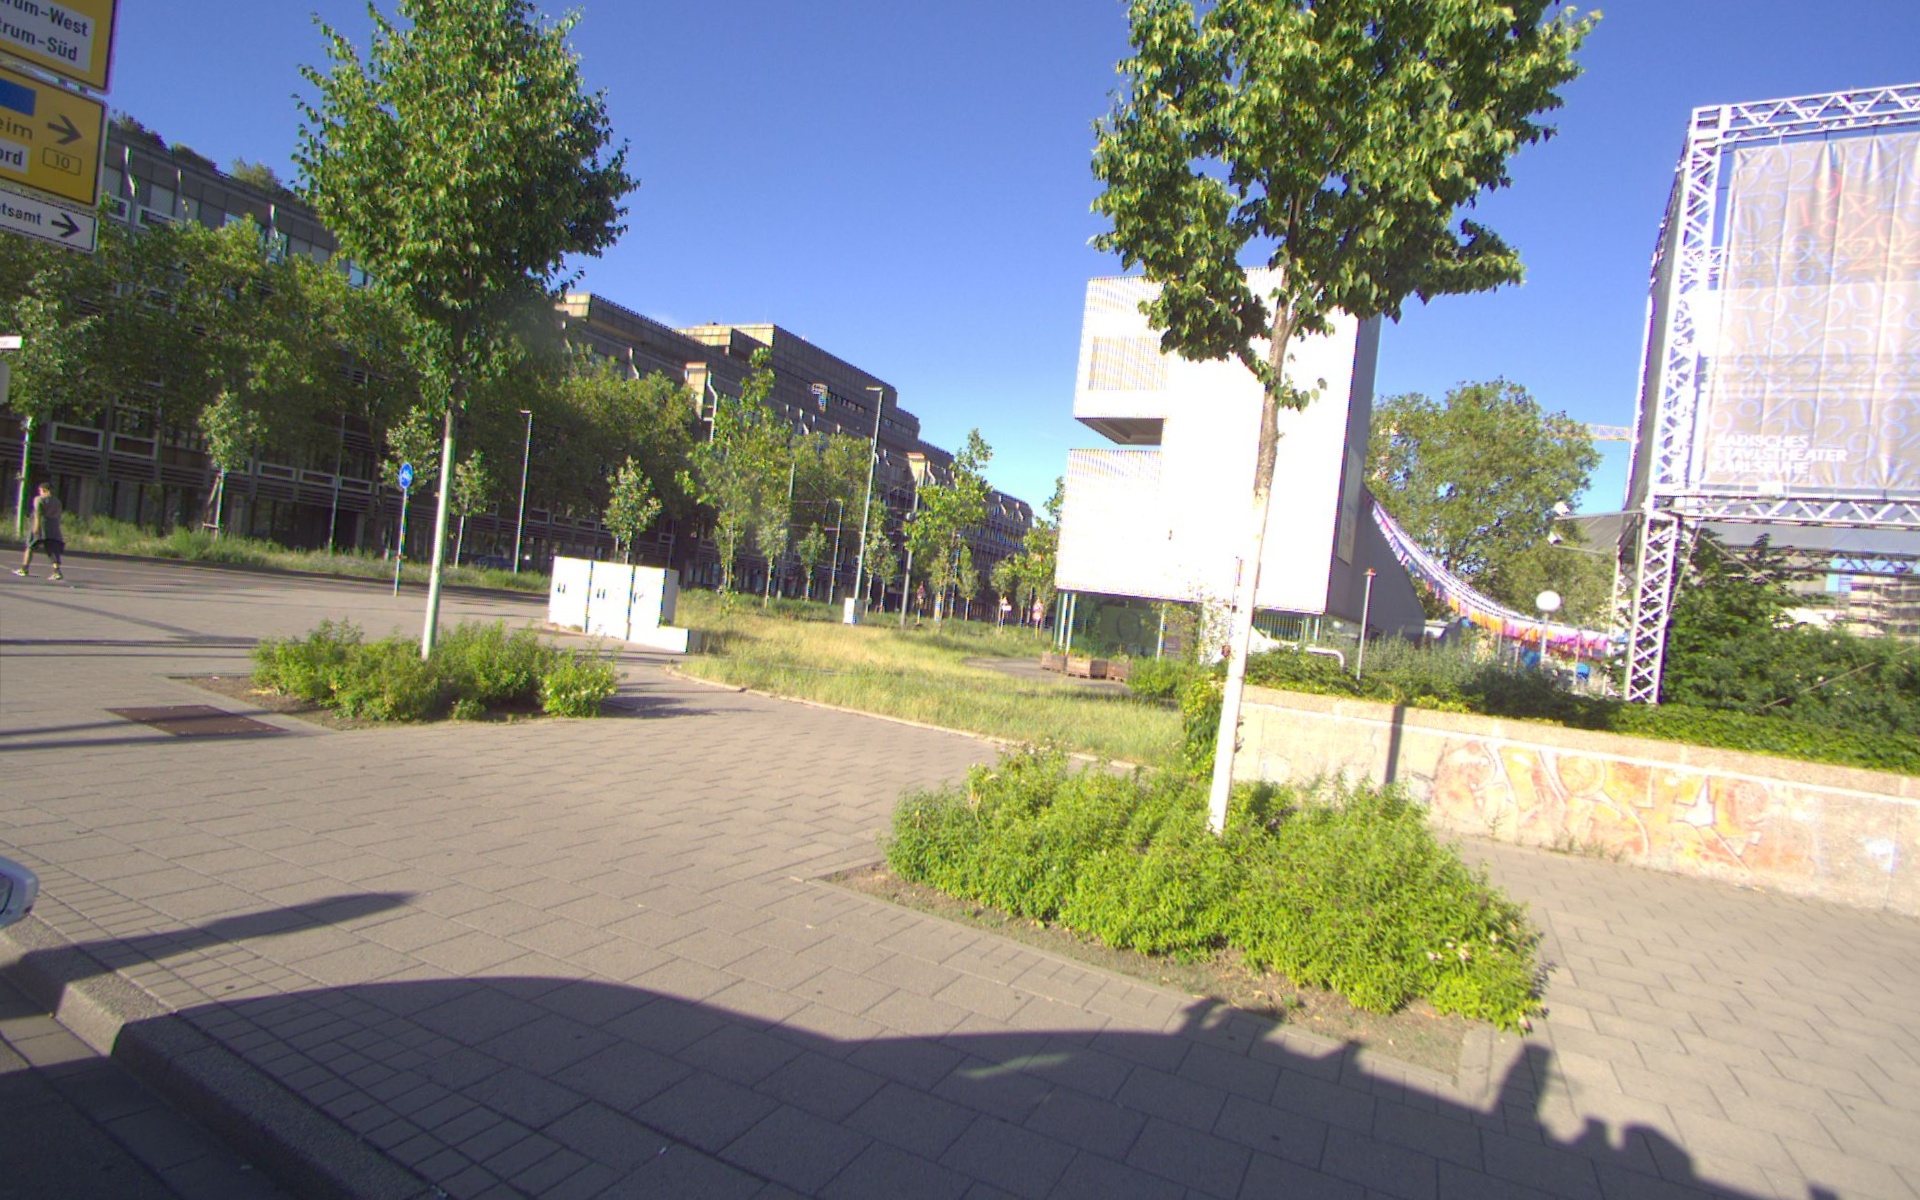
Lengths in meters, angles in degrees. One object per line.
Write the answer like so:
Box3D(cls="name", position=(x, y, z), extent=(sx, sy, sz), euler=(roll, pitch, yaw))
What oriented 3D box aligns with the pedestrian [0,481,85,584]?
Box3D(cls="pedestrian", position=(-16.728, -1.215, 18.157), extent=(0.946, 1.684, 0.882), euler=(7, -1, 16))
